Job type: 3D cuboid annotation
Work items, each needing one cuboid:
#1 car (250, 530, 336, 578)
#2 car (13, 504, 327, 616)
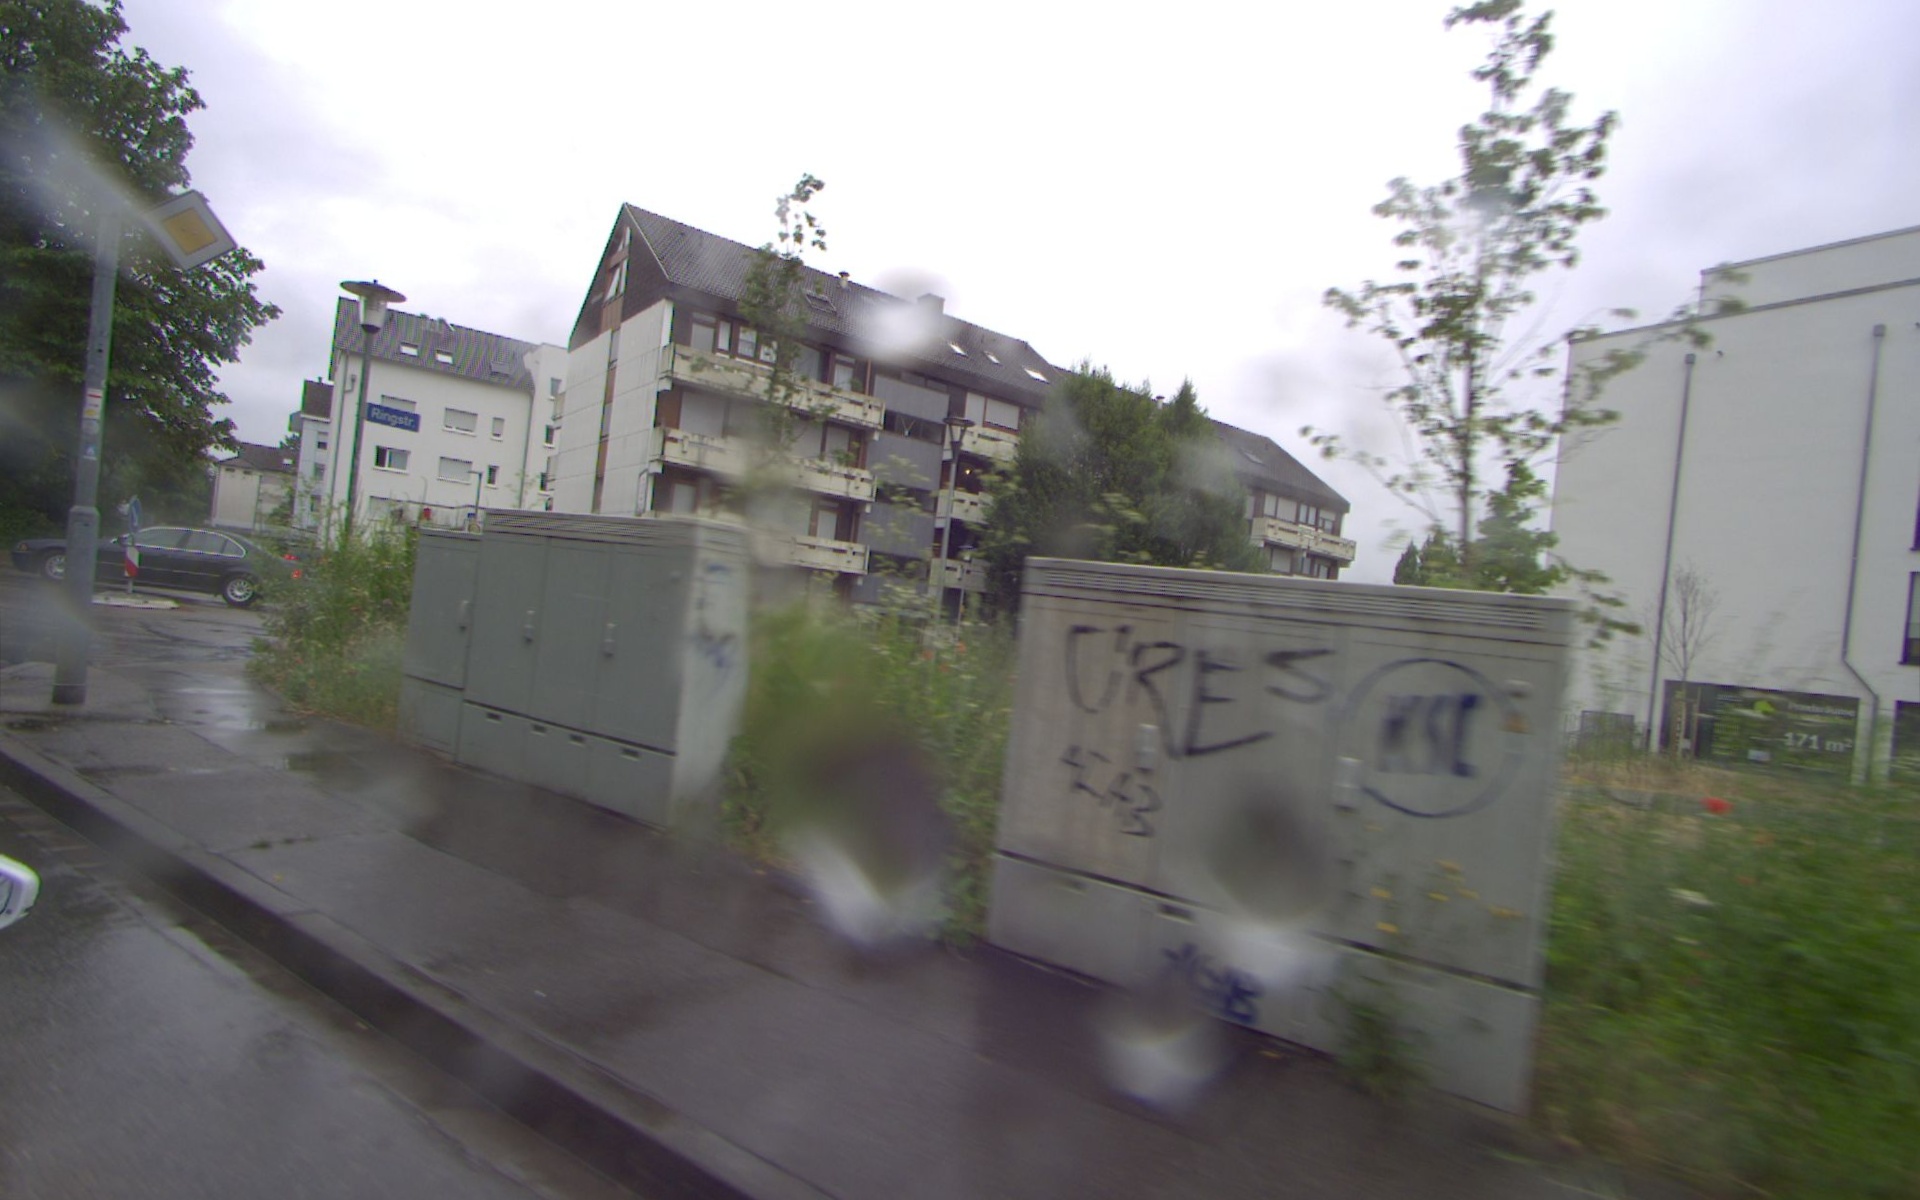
[{"bbox_3d":[-27.222,-1.883,41.011,3.555,1.455,1.689,8,0,36],"label":"car"},{"bbox_3d":[-15.531,-0.752,20.168,4.567,1.403,1.932,10,-2,-29],"label":"car"}]
